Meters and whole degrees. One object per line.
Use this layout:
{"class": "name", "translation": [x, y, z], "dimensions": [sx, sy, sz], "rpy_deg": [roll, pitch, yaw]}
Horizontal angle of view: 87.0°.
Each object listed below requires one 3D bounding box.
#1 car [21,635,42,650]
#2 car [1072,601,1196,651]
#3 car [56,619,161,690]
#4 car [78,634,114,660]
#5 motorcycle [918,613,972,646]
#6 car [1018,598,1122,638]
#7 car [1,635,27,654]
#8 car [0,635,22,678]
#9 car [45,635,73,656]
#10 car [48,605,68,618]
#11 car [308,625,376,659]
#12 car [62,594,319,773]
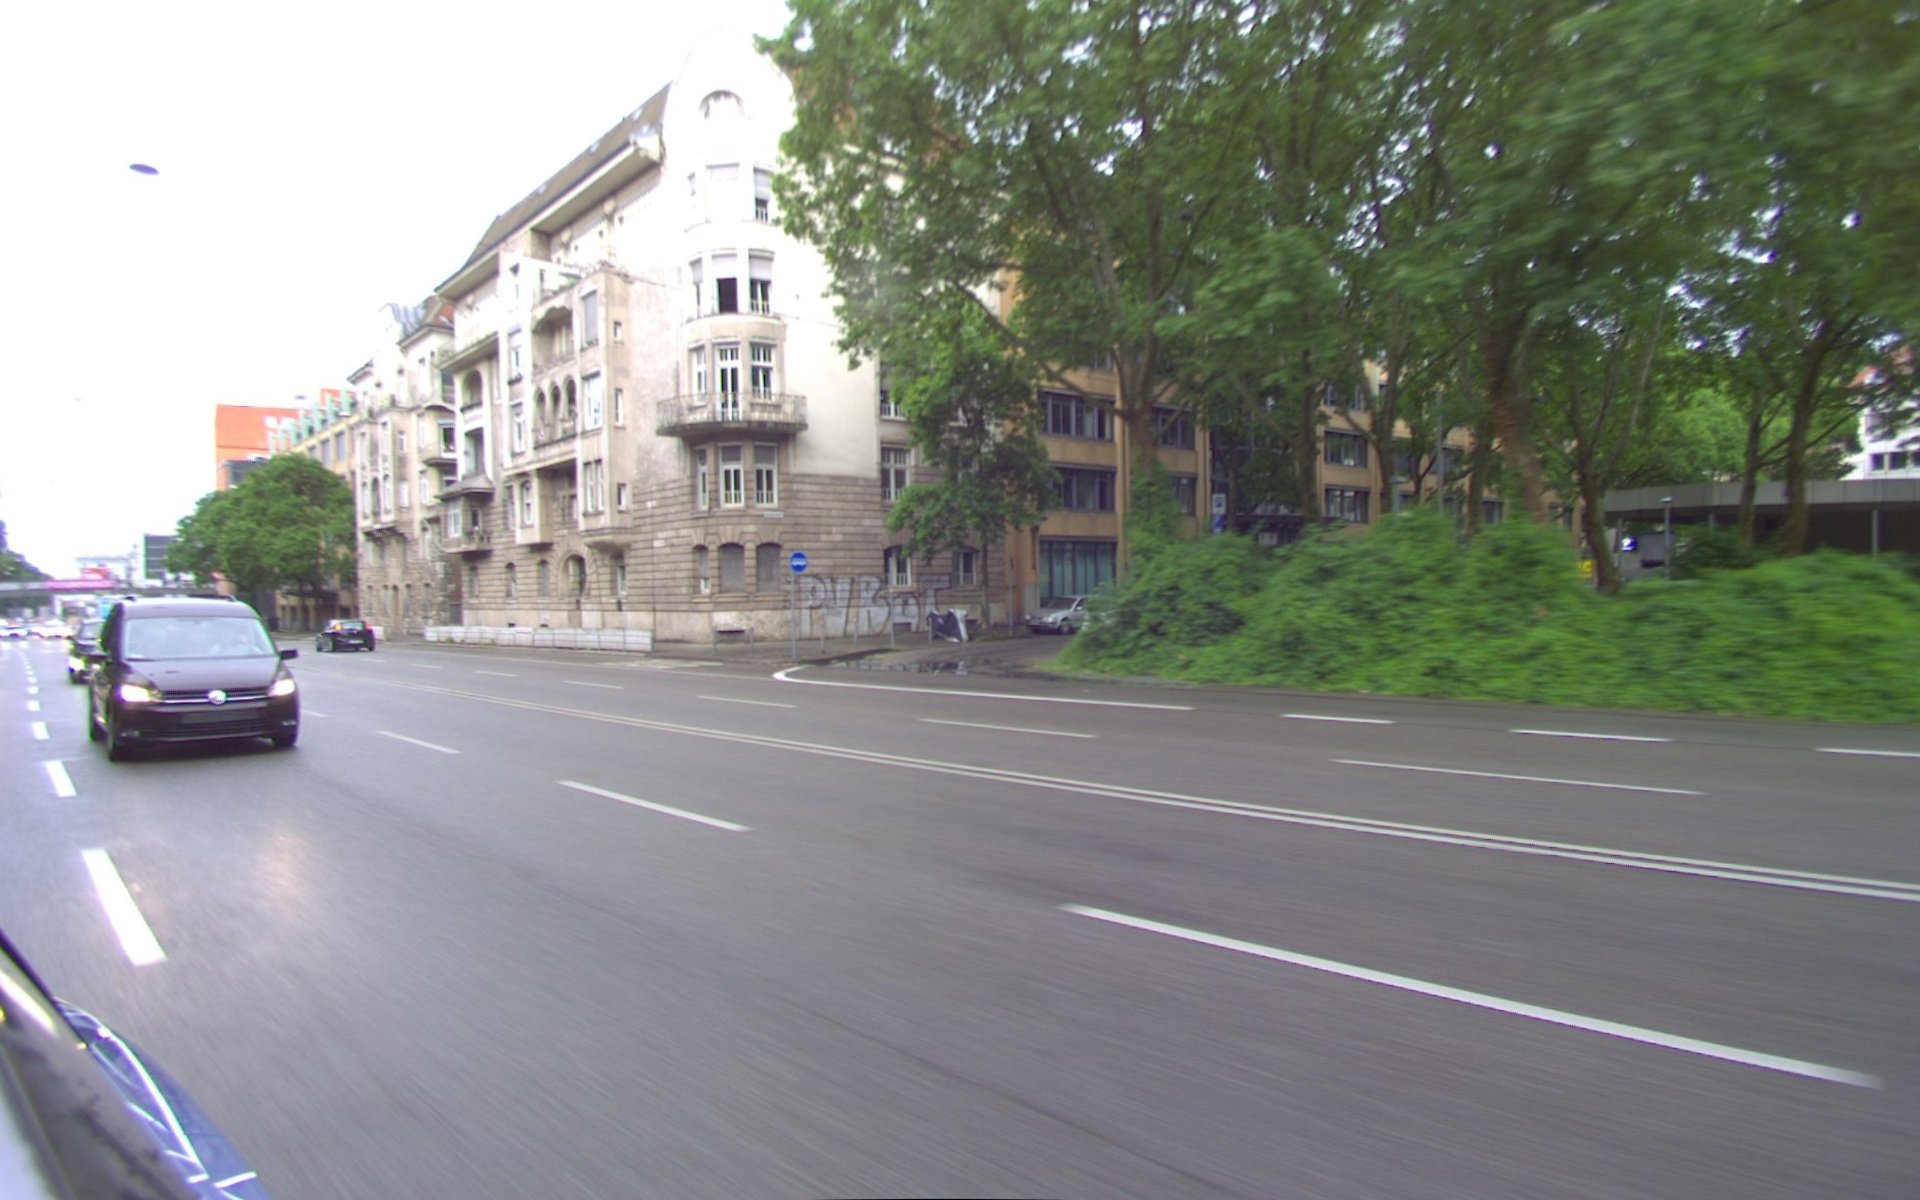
{"class": "car", "translation": [-121.606, 5.557, 132.493], "dimensions": [1.852, 1.785, 4.003], "rpy_deg": [-4, 2, -44]}
{"class": "car", "translation": [5.338, 0.789, 31.015], "dimensions": [3.447, 1.386, 1.783], "rpy_deg": [-1, -2, -34]}
{"class": "car", "translation": [-22.228, 1.362, 26.359], "dimensions": [4.002, 1.625, 1.707], "rpy_deg": [-2, 1, 45]}
{"class": "car", "translation": [-56.549, 3.042, 66.284], "dimensions": [1.705, 1.522, 3.737], "rpy_deg": [-3, 1, -40]}
{"class": "motorcycle", "translation": [-0.551, 1.043, 36.286], "dimensions": [0.497, 1.150, 2.396], "rpy_deg": [-1, 0, -41]}
{"class": "car", "translation": [4.320, 0.695, 39.562], "dimensions": [3.936, 1.371, 1.698], "rpy_deg": [-2, 0, -38]}
{"class": "car", "translation": [-99.616, 4.646, 106.588], "dimensions": [1.852, 1.785, 4.003], "rpy_deg": [-4, 2, -44]}
{"class": "car", "translation": [-40.858, 2.394, 42.607], "dimensions": [1.775, 1.607, 4.006], "rpy_deg": [-4, 2, -41]}
{"class": "car", "translation": [-88.822, 4.494, 99.797], "dimensions": [1.852, 1.785, 4.003], "rpy_deg": [-4, 2, -44]}
{"class": "car", "translation": [-121.106, 1.518, 135.940], "dimensions": [1.797, 1.623, 4.006], "rpy_deg": [-4, 2, -41]}
{"class": "car", "translation": [-27.017, 1.802, 44.221], "dimensions": [1.682, 1.349, 3.917], "rpy_deg": [-1, -1, -45]}
{"class": "car", "translation": [-9.414, 0.895, 12.264], "dimensions": [4.000, 1.804, 1.817], "rpy_deg": [-2, -2, 43]}
